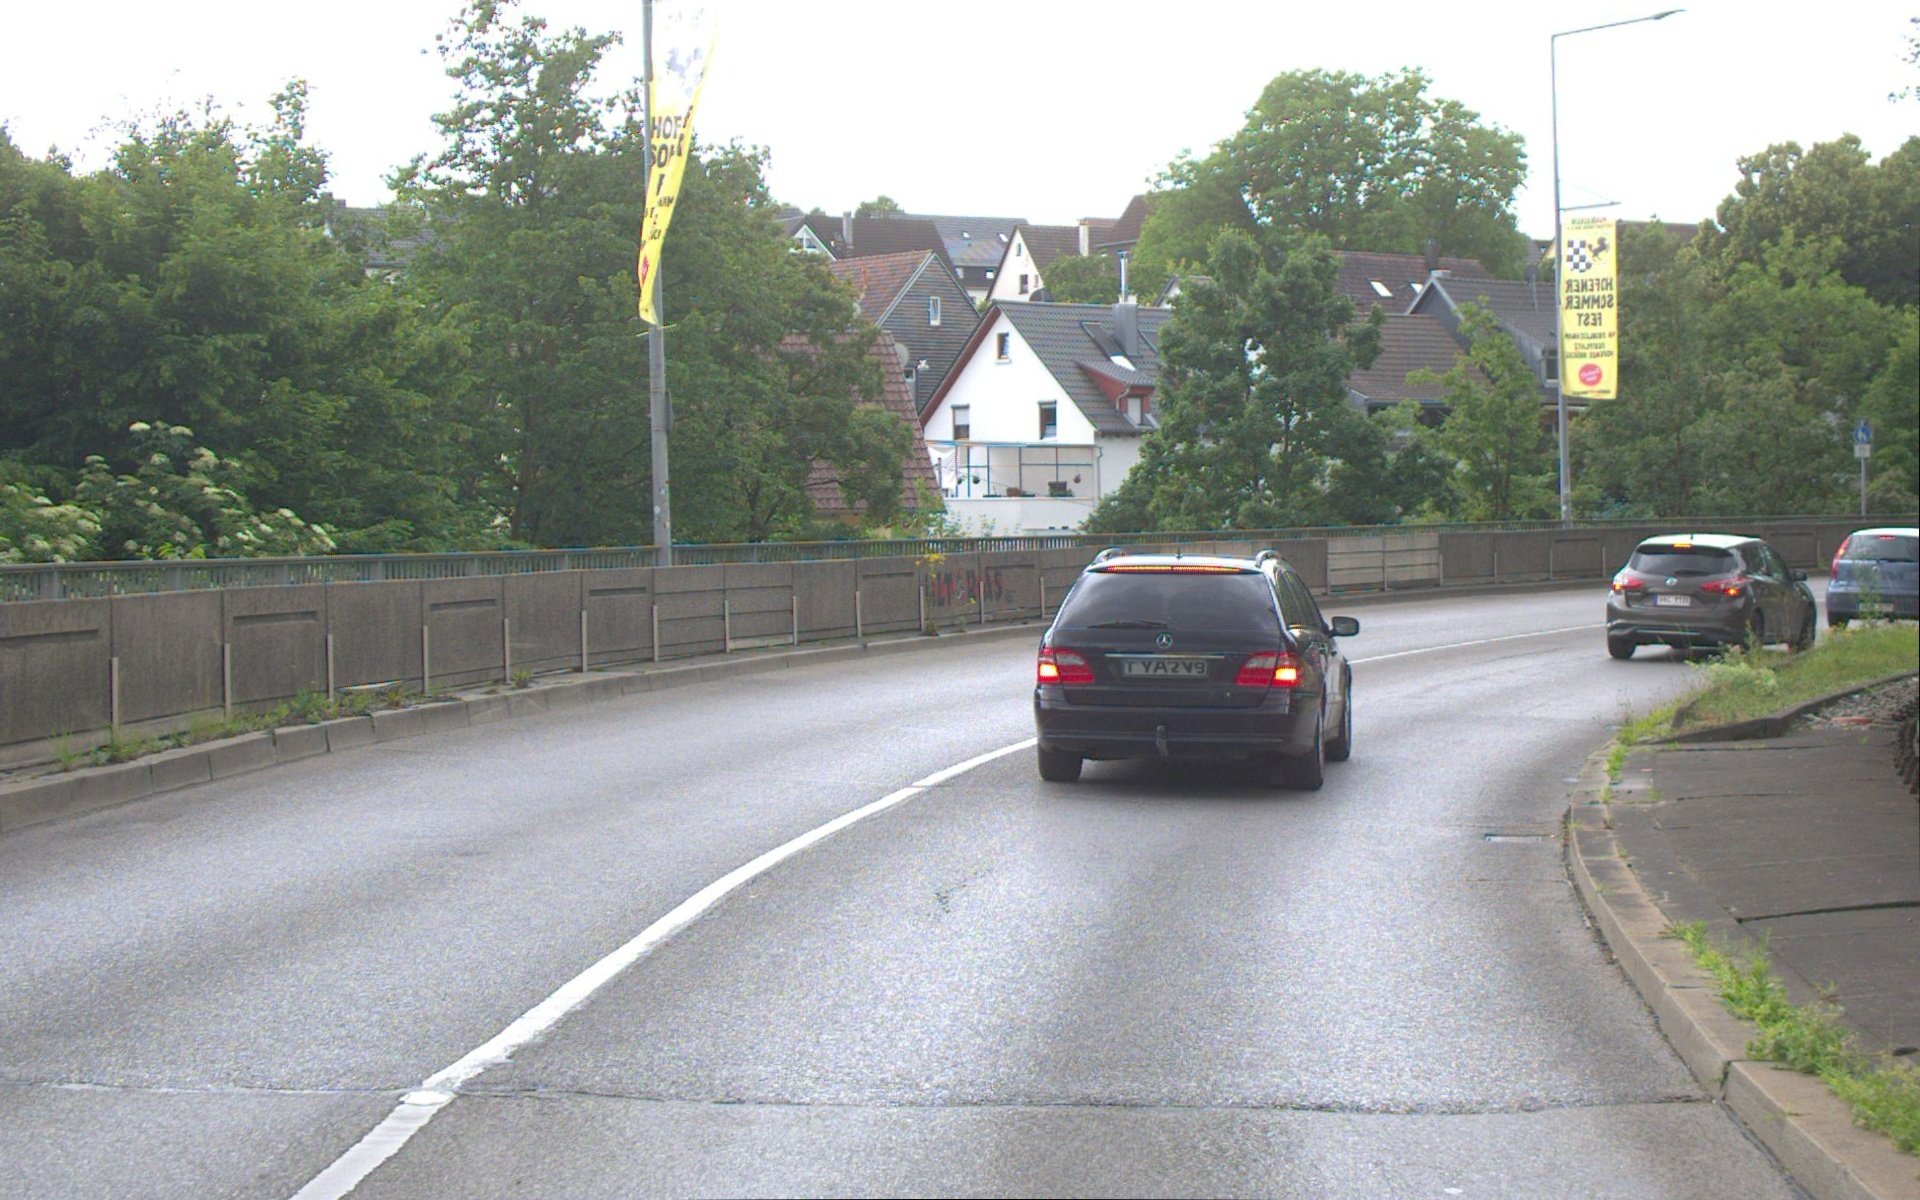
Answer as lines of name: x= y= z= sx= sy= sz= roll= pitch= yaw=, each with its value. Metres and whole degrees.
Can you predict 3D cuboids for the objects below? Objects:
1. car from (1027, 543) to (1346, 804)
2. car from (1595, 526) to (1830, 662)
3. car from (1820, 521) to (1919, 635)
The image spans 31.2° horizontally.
car: x=1.608 y=0.412 z=22.941 sx=1.759 sy=1.510 sz=4.441 roll=2 pitch=1 yaw=8
car: x=9.360 y=-0.103 z=42.525 sx=1.773 sy=1.550 sz=4.234 roll=0 pitch=1 yaw=28
car: x=13.896 y=-0.360 z=49.793 sx=1.795 sy=1.550 sz=4.379 roll=-1 pitch=1 yaw=28
